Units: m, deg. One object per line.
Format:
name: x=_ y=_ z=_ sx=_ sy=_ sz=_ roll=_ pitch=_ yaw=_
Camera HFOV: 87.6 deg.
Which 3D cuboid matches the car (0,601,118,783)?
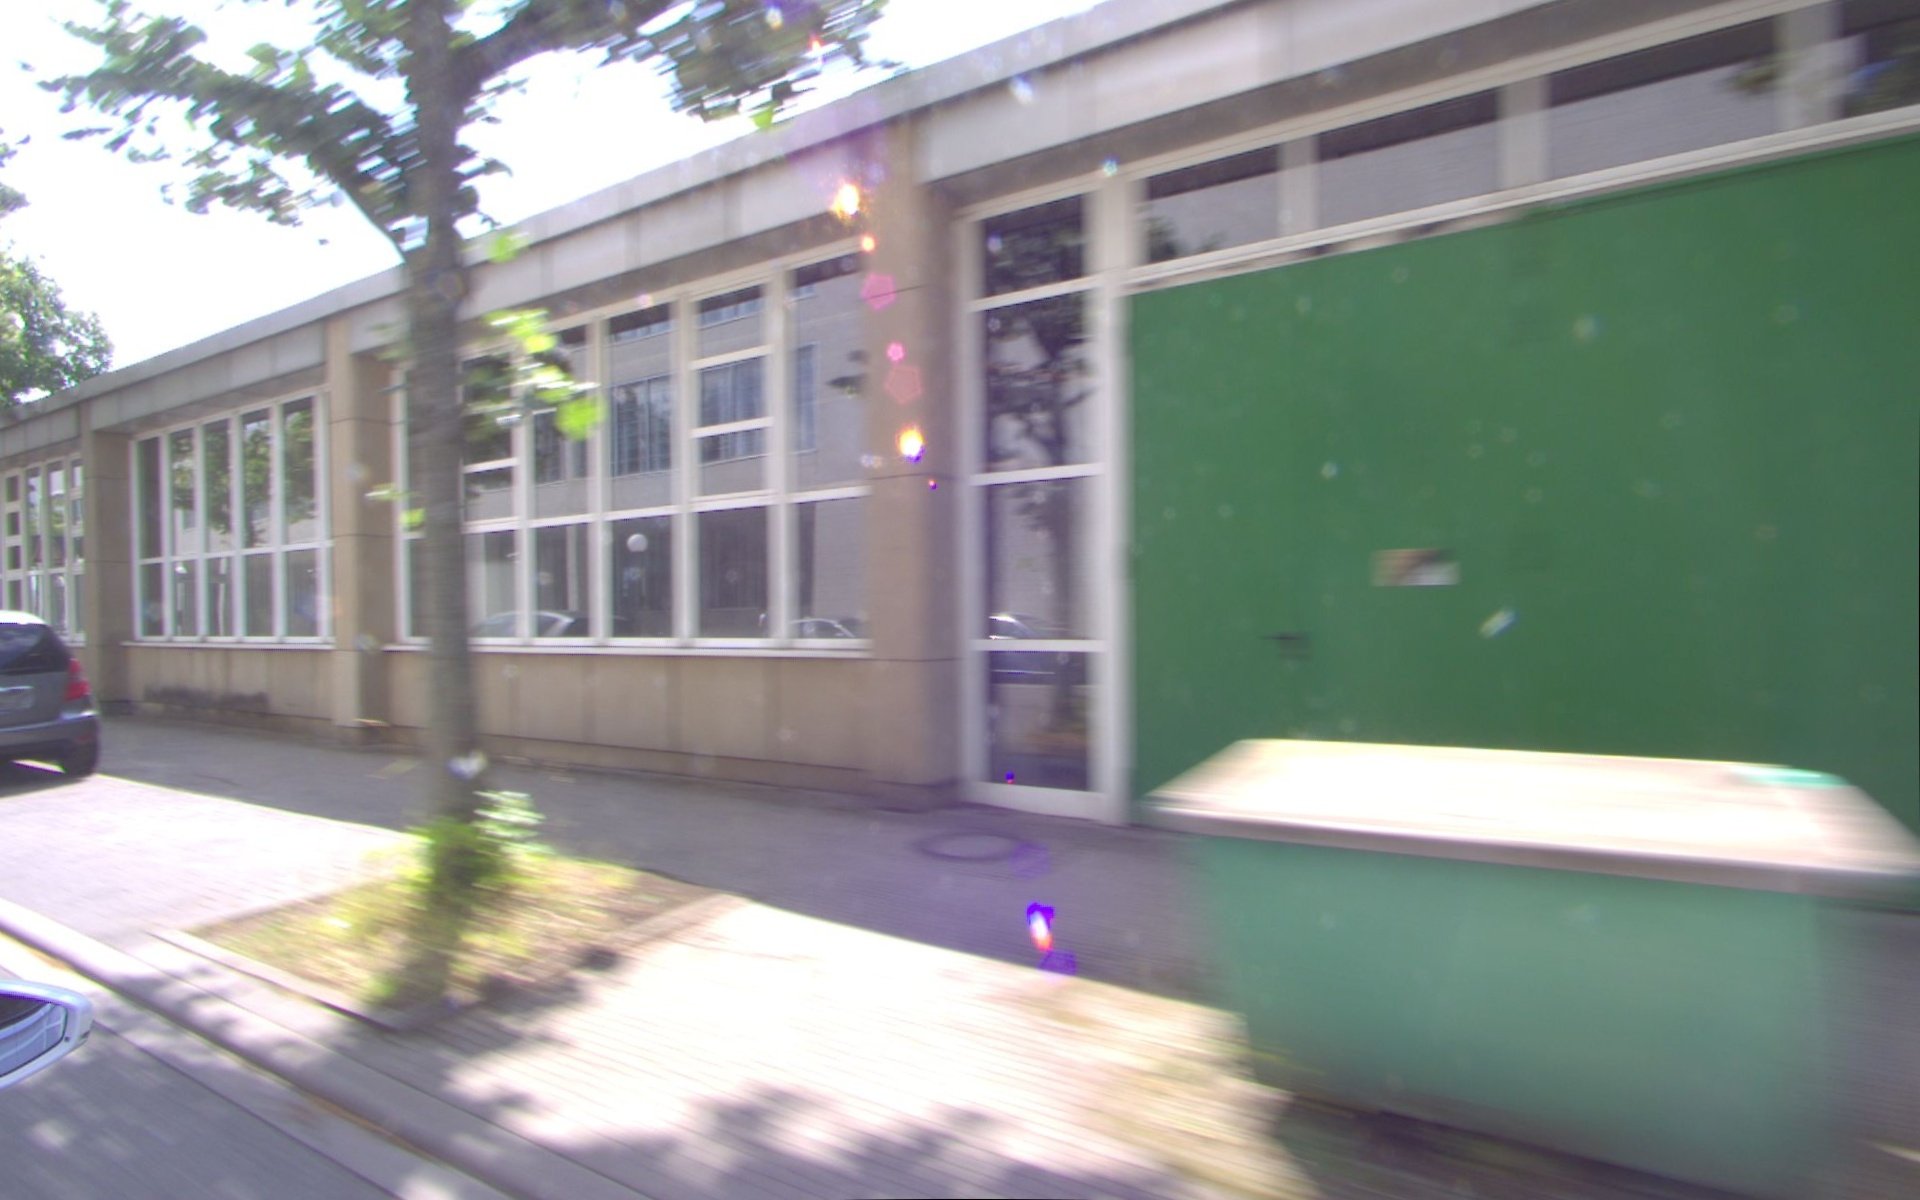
car: x=-10.169 y=0.853 z=9.832 sx=3.945 sy=1.595 sz=1.854 roll=-1 pitch=0 yaw=34
